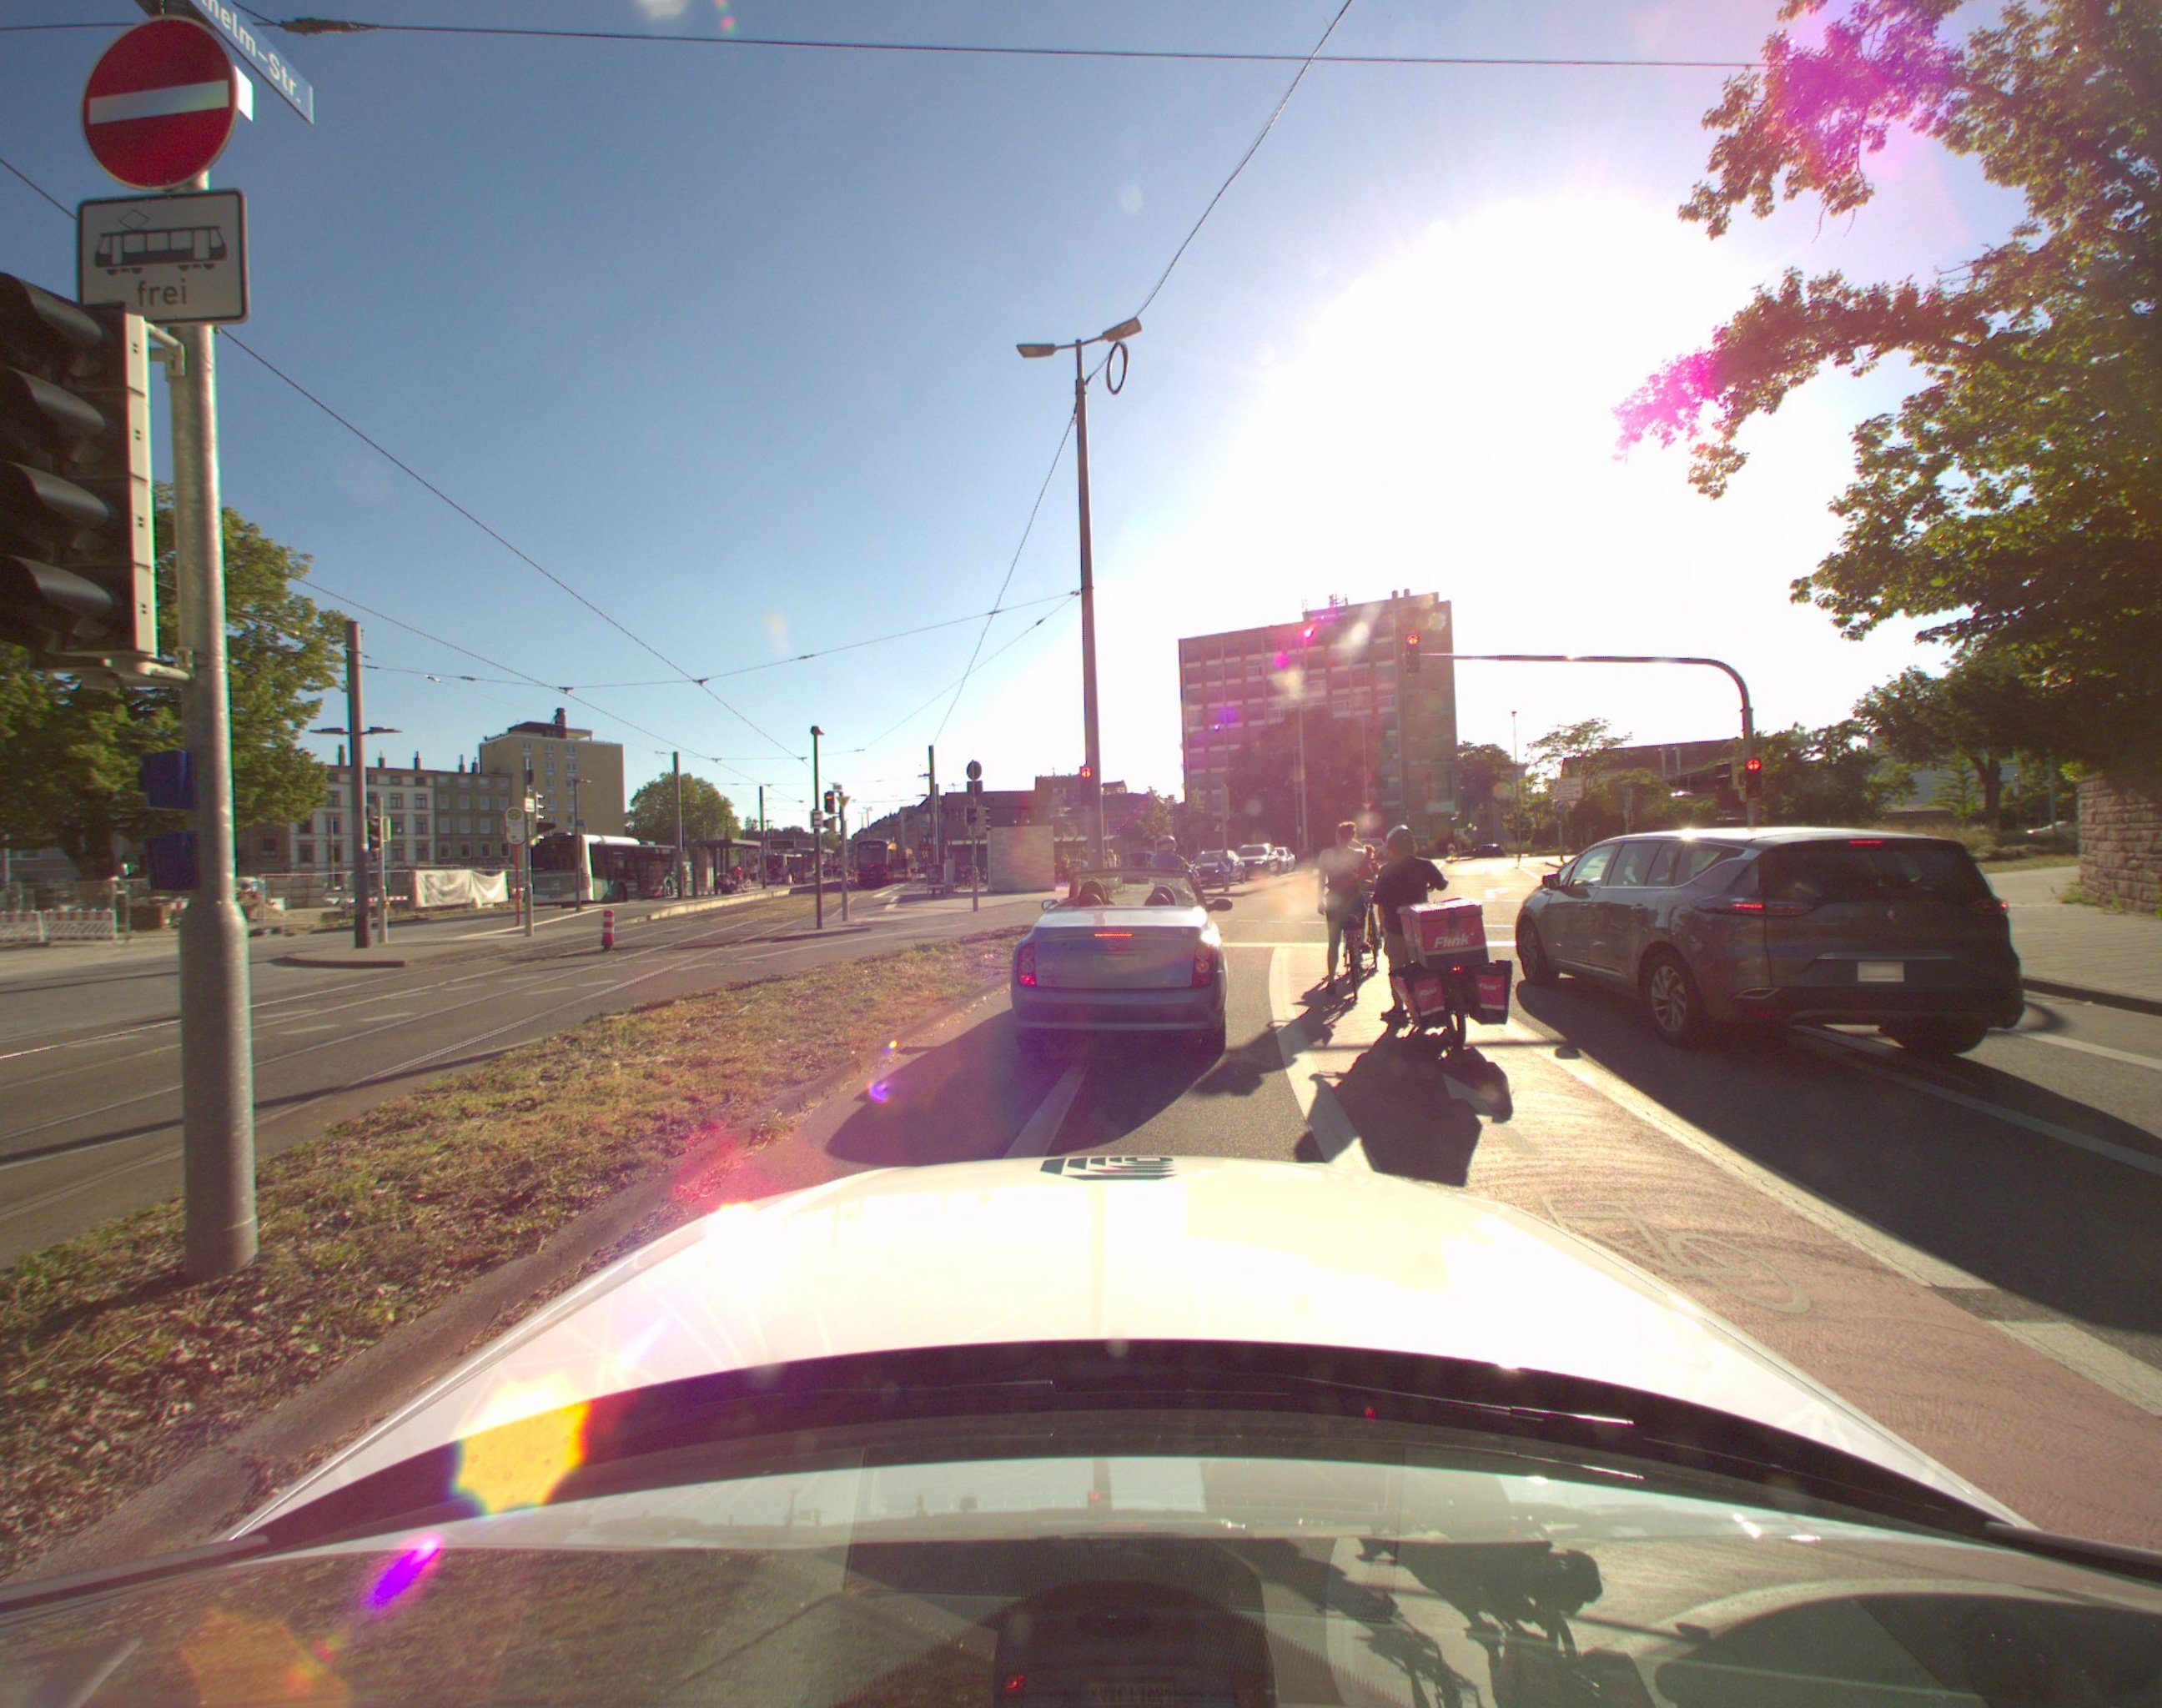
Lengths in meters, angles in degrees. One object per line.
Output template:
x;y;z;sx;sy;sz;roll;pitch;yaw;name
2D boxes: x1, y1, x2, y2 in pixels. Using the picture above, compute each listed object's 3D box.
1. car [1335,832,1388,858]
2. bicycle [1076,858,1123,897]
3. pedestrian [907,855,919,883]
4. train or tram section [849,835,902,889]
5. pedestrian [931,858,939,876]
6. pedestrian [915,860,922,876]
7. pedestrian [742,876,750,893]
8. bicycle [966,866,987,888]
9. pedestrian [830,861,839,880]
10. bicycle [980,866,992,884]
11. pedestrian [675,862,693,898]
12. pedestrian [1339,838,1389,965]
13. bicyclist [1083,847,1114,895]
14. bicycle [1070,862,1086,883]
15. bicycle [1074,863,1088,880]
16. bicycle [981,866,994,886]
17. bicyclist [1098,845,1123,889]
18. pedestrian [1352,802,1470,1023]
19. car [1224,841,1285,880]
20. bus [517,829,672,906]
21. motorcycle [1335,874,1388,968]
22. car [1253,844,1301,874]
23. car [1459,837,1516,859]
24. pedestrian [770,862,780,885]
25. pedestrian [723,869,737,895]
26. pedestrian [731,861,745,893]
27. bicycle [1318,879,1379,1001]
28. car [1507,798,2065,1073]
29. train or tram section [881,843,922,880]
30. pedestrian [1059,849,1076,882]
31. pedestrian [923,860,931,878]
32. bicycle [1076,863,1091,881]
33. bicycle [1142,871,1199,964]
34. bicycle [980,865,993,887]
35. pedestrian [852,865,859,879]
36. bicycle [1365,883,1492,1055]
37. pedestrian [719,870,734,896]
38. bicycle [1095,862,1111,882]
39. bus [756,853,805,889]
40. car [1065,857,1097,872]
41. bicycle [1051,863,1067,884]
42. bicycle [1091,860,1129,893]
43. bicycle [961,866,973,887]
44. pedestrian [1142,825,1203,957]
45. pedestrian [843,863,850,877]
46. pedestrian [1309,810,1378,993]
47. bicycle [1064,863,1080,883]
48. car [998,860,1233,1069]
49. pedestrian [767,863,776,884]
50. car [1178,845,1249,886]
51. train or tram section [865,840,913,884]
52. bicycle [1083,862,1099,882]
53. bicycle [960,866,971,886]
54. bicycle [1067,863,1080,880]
23.636;-0.760;68.630;4.729;1.945;1.893;-2;-1;-38;car
0.675;0.812;28.968;0.668;1.250;2.471;-5;-1;24;bicycle
-10.702;0.936;51.974;0.639;1.749;0.569;-2;-1;-17;pedestrian
-15.261;0.583;61.215;2.881;3.597;12.158;0;-1;-10;train or tram section
-14.638;1.320;81.435;0.639;1.749;0.732;-2;-1;-17;pedestrian
-18.073;1.531;90.534;0.604;1.749;0.830;-2;-1;-6;pedestrian
-34.355;3.143;83.500;0.638;1.749;0.570;-2;-1;-10;pedestrian
-5.467;1.204;42.734;0.603;1.115;1.901;-1;-1;8;bicycle
-22.760;1.534;75.120;0.641;1.749;0.567;-2;-1;-25;pedestrian
-5.902;1.288;50.623;0.607;1.115;1.890;0;-1;-10;bicycle
-19.621;1.273;40.263;0.536;1.749;0.559;-2;-1;-4;pedestrian
3.770;0.606;10.844;0.583;1.598;1.030;-1;-1;19;pedestrian
0.627;0.596;28.903;0.702;1.657;0.906;-5;-2;24;bicyclist
-0.179;1.016;45.410;0.607;1.115;1.890;0;-1;-10;bicycle
-0.031;1.133;53.390;0.607;1.115;1.890;0;-1;-10;bicycle
-5.374;1.225;46.734;0.607;1.115;1.890;0;-1;-10;bicycle
1.147;0.490;31.601;0.702;1.657;0.747;-3;-1;24;bicyclist
2.977;0.503;7.446;0.801;1.869;0.959;-1;-1;10;pedestrian
8.508;0.291;39.692;1.745;1.706;4.557;-4;-1;26;car
-22.371;0.574;38.221;2.652;3.135;9.617;0;-1;-8;bus
3.827;0.845;11.104;0.608;1.097;2.371;-1;-1;19;motorcycle
11.166;0.252;46.216;1.678;1.560;4.004;-3;0;28;car
39.269;-0.566;78.672;4.645;1.945;1.927;-3;-1;35;car
-23.965;1.540;63.739;0.641;1.749;0.567;-2;-1;-25;pedestrian
-18.732;1.475;43.462;0.571;1.346;0.636;-2;-1;-15;pedestrian
-19.111;1.276;45.338;0.571;1.749;0.636;-2;-1;-15;pedestrian
2.933;0.876;9.021;0.559;1.151;1.958;-1;-1;17;bicycle
5.540;0.523;7.319;1.820;1.689;4.381;-1;-1;10;car
-18.601;0.814;85.228;3.037;3.597;12.021;0;0;-7;train or tram section
-0.795;0.680;46.930;0.901;1.869;0.684;0;-1;-11;pedestrian
-15.289;1.451;80.779;0.639;1.749;0.732;-2;-1;-17;pedestrian
0.130;1.138;51.413;0.607;1.115;1.890;0;-1;-10;bicycle
1.357;0.866;11.986;0.604;1.191;2.422;-1;-1;12;bicycle
-5.177;1.194;44.664;0.607;1.115;1.890;0;-1;-10;bicycle
-27.795;2.220;100.508;0.735;1.749;0.637;-2;-1;-14;pedestrian
2.934;0.873;7.094;0.550;1.171;2.380;-1;-1;12;bicycle
-18.603;1.522;42.775;0.617;1.340;0.438;-2;-1;-15;pedestrian
1.238;1.007;45.679;0.606;1.115;1.892;0;-1;-7;bicycle
-29.669;1.588;80.947;2.723;3.274;13.409;0;-1;-12;bus
-0.031;1.177;88.863;1.653;1.560;3.559;-2;0;-37;car
-1.254;1.082;45.294;0.607;1.115;1.890;0;-1;-10;bicycle
1.154;0.847;31.572;0.668;1.180;2.195;-3;0;24;bicycle
-6.213;1.233;44.358;0.607;1.115;1.890;0;-1;-10;bicycle
1.369;0.527;12.056;0.828;1.869;0.923;-1;-1;10;pedestrian
-29.050;1.961;100.915;0.732;1.749;0.638;-2;-1;-6;pedestrian
2.836;0.491;8.838;0.654;1.869;0.876;-1;-1;17;pedestrian
-0.542;1.093;47.351;0.607;1.115;1.890;0;-1;-10;bicycle
0.549;0.783;7.795;1.650;1.441;4.164;-1;-1;9;car
-25.570;1.610;67.352;0.571;1.749;0.636;-2;-1;-17;pedestrian
5.547;0.469;33.642;1.720;1.574;3.948;-1;-1;28;car
-17.066;0.706;73.256;3.010;3.597;12.165;0;-1;-8;train or tram section
0.557;1.056;47.713;0.607;1.115;1.890;0;-1;-10;bicycle
-6.560;1.251;46.293;0.606;1.115;1.891;0;-1;-8;bicycle
-0.558;1.205;56.910;0.607;1.115;1.890;0;-1;-10;bicycle
